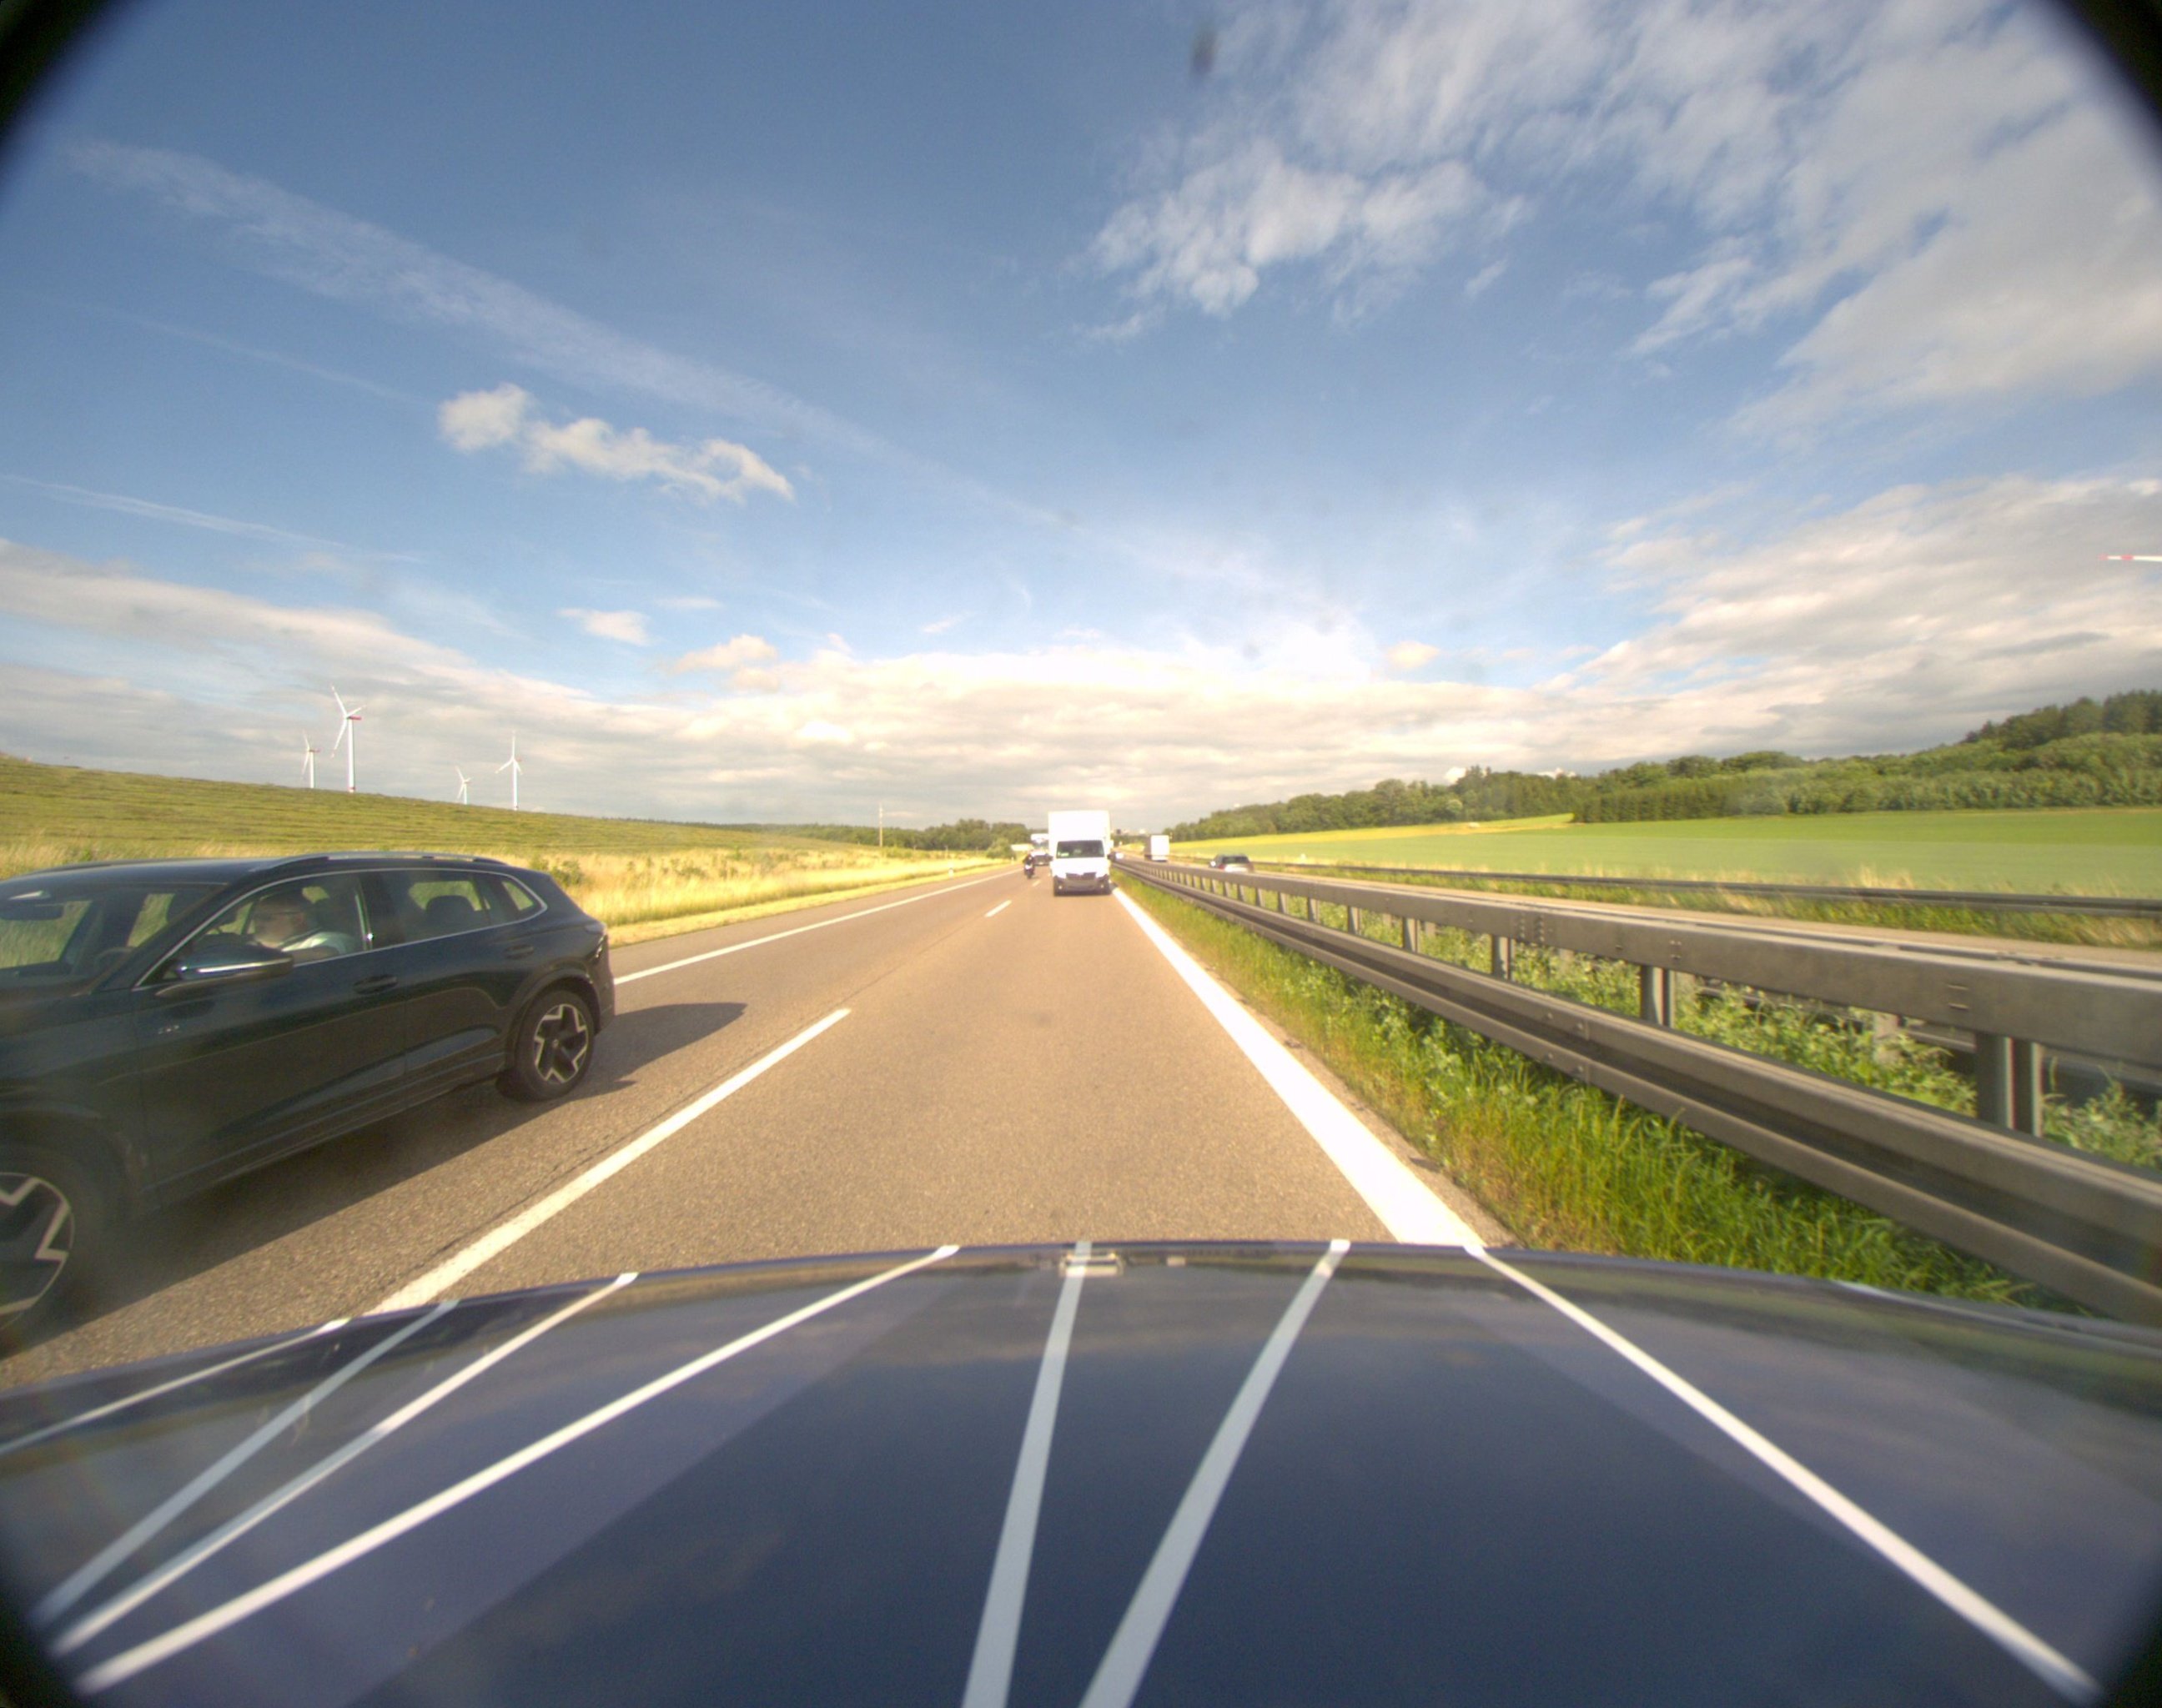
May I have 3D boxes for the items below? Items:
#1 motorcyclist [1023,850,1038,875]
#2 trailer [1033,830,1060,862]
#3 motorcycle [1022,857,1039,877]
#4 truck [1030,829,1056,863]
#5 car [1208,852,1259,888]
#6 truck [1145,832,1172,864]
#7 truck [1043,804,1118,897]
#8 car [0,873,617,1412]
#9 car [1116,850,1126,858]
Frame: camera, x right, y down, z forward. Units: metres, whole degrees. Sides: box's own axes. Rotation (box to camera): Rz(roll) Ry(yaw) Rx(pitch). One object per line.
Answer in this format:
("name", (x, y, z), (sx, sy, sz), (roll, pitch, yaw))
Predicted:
("motorcyclist", (-3.195, 0.530, 48.512), (0.852, 1.551, 0.934), (-2, 1, 0))
("trailer", (-4.673, -1.119, 105.262), (2.623, 4.017, 13.697), (-4, 1, 1))
("motorcycle", (-3.183, 0.817, 48.473), (0.898, 1.183, 2.256), (-2, 1, 0))
("truck", (-4.824, -1.023, 98.088), (2.607, 4.017, 6.119), (-5, 1, 1))
("car", (7.548, 0.742, 37.960), (1.619, 1.576, 4.064), (-2, 1, -1))
("truck", (12.137, -0.979, 120.034), (2.887, 4.608, 13.421), (-2, 1, 0))
("truck", (-0.054, -0.121, 31.989), (2.502, 3.141, 11.162), (-2, 0, 0))
("car", (-4.375, 0.999, 3.457), (1.825, 1.592, 4.234), (-2, 1, 1))
("car", (7.998, 0.016, 150.871), (1.708, 1.482, 3.999), (-2, 1, 0))
